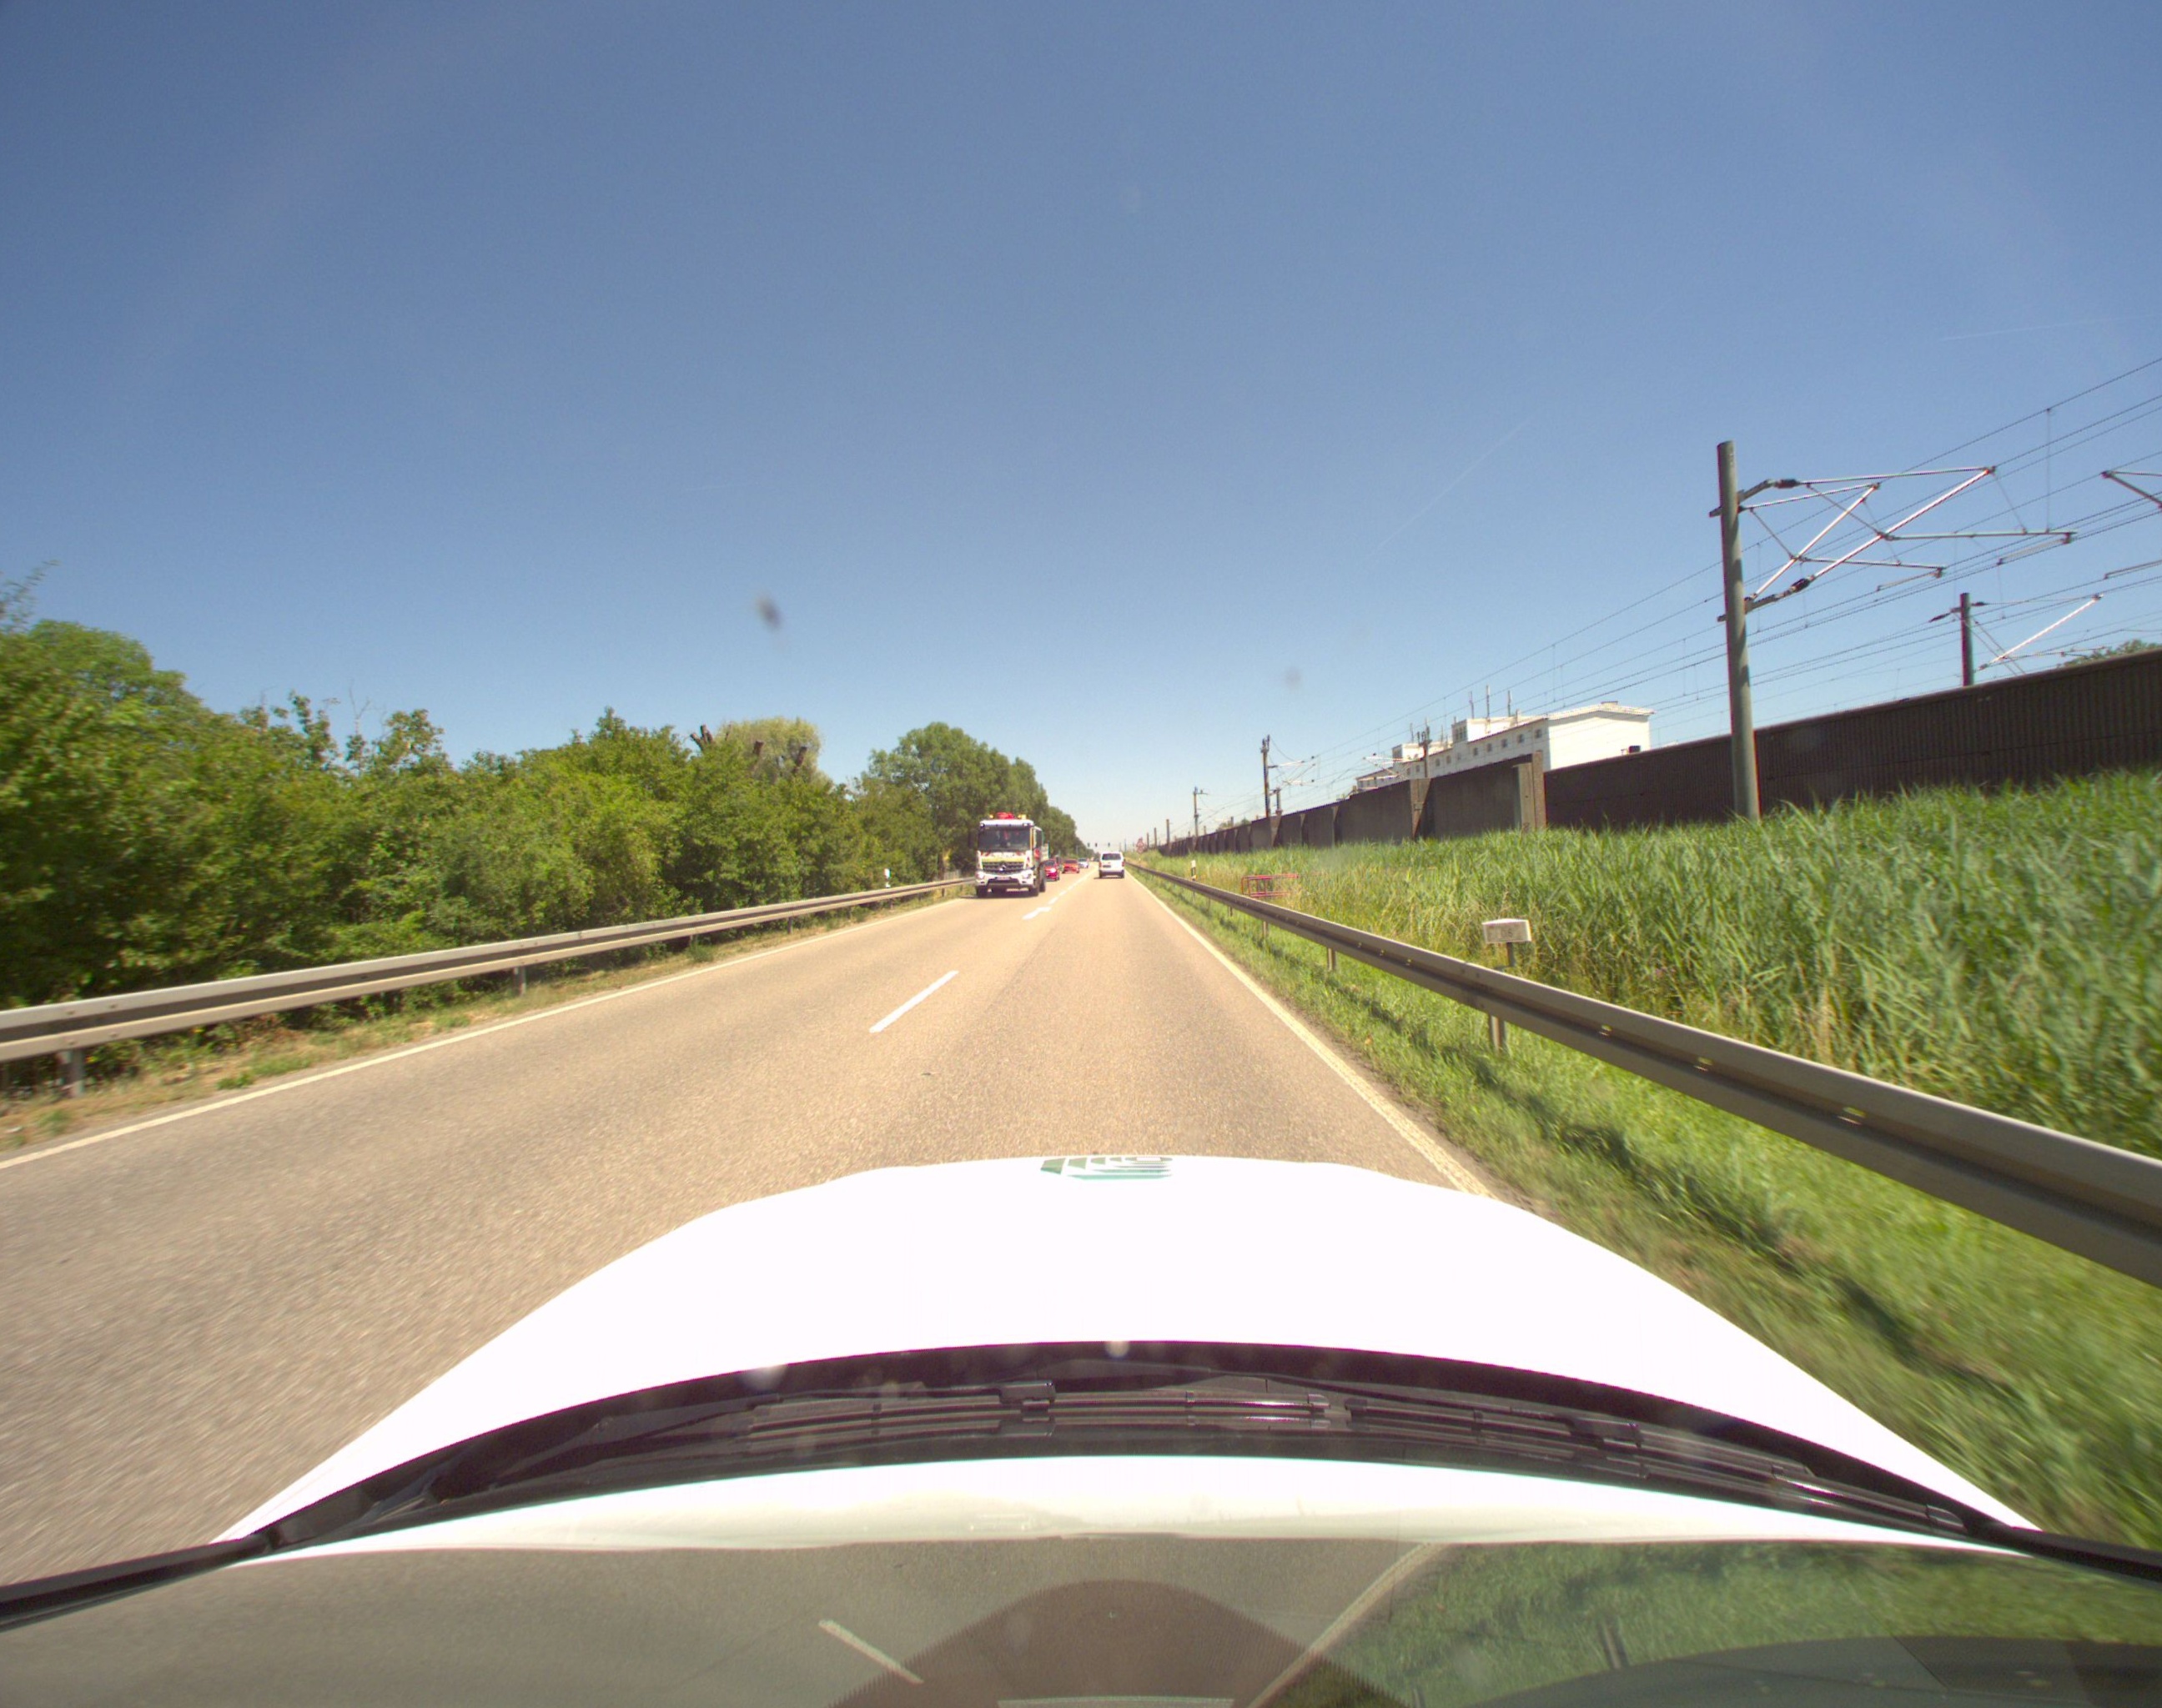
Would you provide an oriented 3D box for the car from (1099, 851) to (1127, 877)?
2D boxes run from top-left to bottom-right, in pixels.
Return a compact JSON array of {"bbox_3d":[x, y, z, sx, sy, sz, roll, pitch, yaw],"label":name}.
[{"bbox_3d":[2.354,0.741,60.194,1.986,1.850,4.002,0,0,2],"label":"car"}]

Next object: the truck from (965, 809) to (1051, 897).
[{"bbox_3d":[-2.976,-0.037,35.551,2.773,3.405,7.992,0,0,2],"label":"truck"}]

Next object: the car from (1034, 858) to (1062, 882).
[{"bbox_3d":[-2.247,1.061,56.587,1.647,1.552,4.001,-1,0,2],"label":"car"}]

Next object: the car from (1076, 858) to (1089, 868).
[{"bbox_3d":[0.298,1.398,125.501,1.782,1.525,4.393,-1,0,3],"label":"car"}]

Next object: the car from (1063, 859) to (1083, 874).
[{"bbox_3d":[-0.794,1.290,83.560,1.781,1.421,4.004,-1,0,4],"label":"car"}]
